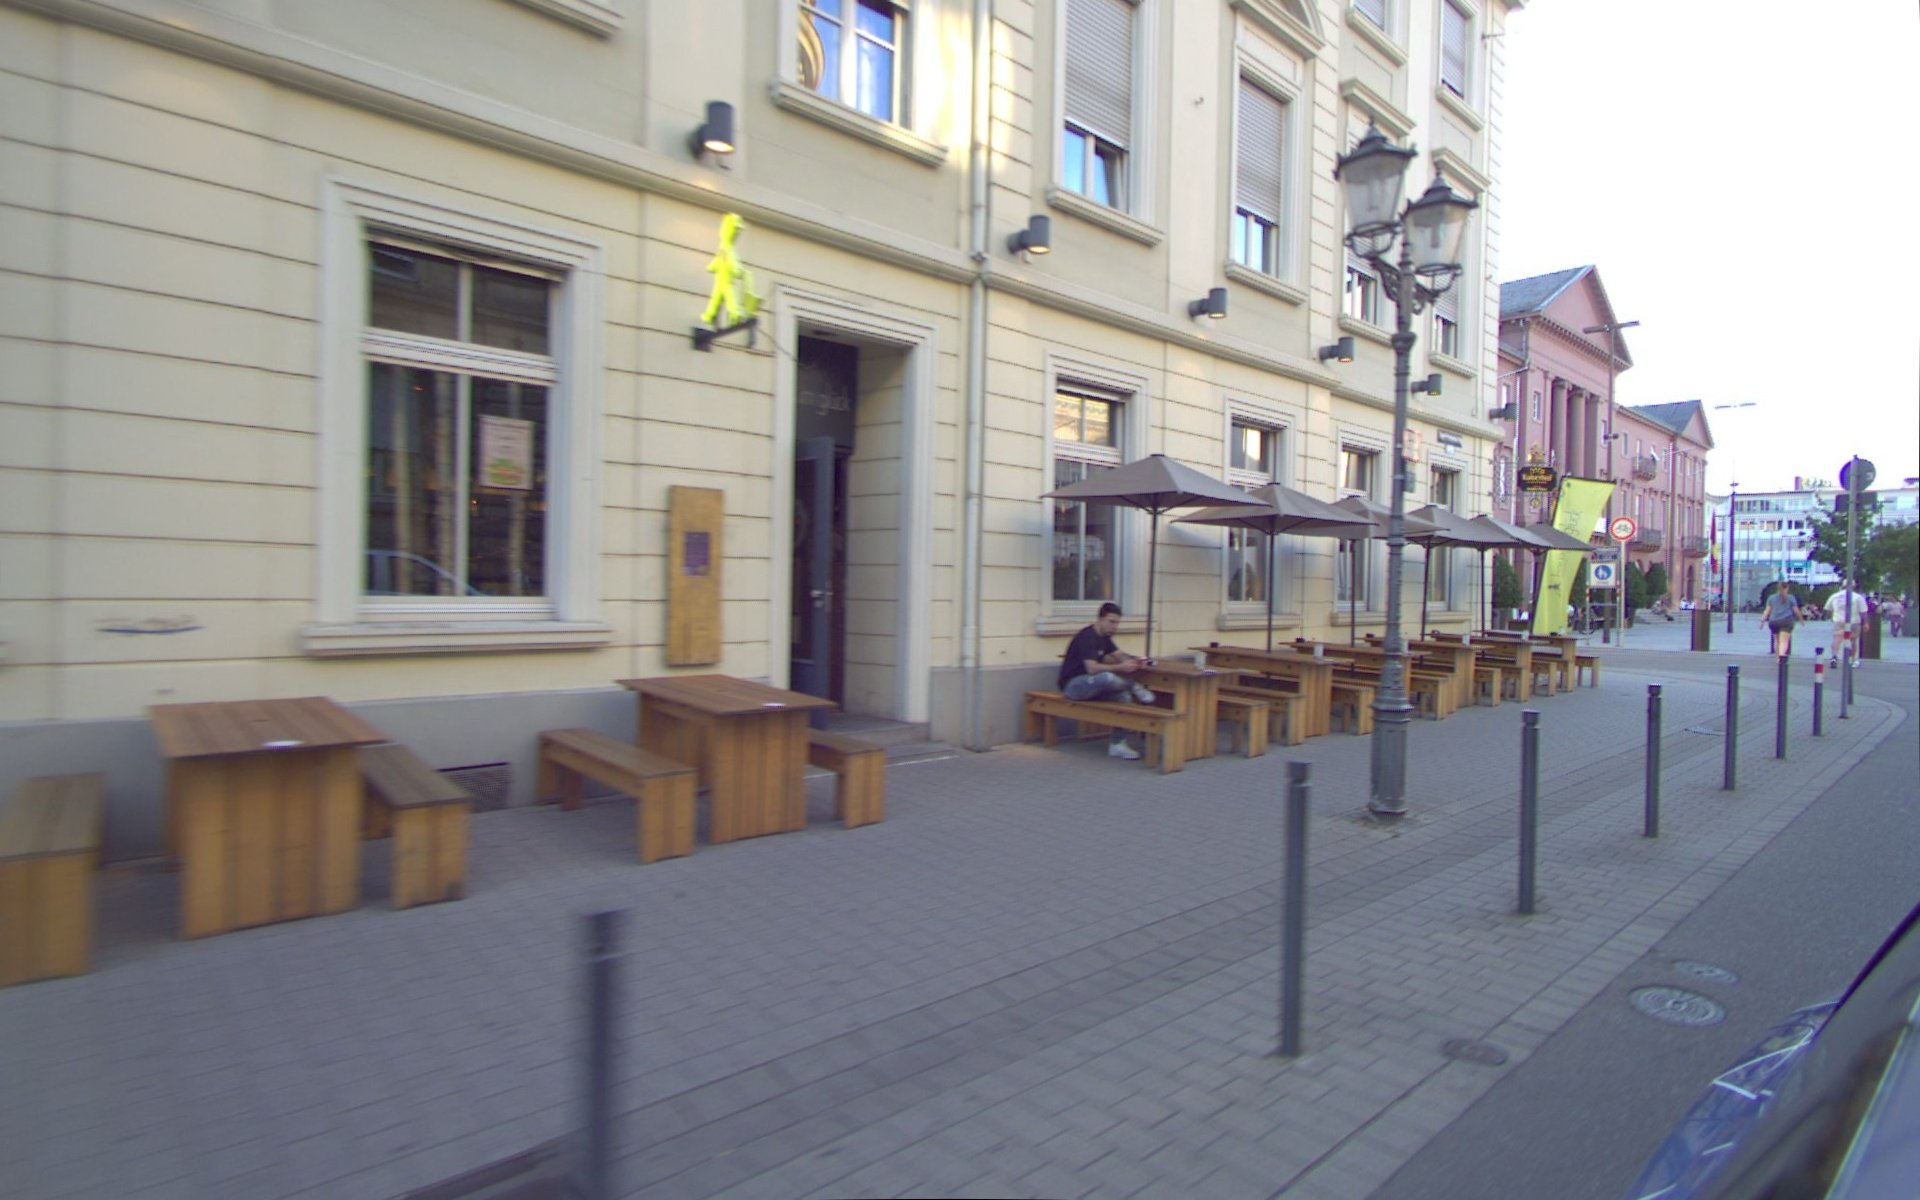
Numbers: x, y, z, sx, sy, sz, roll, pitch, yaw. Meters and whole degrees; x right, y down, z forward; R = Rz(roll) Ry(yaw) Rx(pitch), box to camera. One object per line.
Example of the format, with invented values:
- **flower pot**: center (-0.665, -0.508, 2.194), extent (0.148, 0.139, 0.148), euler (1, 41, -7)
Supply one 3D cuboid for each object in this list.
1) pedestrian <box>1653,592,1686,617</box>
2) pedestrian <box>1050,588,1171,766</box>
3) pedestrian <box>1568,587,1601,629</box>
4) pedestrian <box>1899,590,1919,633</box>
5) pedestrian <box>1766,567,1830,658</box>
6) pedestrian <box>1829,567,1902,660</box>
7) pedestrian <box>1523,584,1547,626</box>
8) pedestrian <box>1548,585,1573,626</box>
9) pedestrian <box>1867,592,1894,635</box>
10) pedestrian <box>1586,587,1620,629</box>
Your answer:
- **pedestrian**: center (38.079, 0.216, 54.317), extent (1.396, 1.278, 1.311), euler (2, 1, 35)
- **pedestrian**: center (1.261, 0.598, 8.451), extent (0.771, 1.376, 0.716), euler (1, 1, 31)
- **pedestrian**: center (22.365, 0.280, 36.273), extent (0.572, 1.466, 0.832), euler (1, 1, -9)
- **pedestrian**: center (35.496, 0.414, 37.706), extent (0.642, 1.578, 0.682), euler (0, 1, -44)
- **pedestrian**: center (16.596, 0.235, 20.056), extent (0.704, 1.751, 0.609), euler (1, 1, 1)
- **pedestrian**: center (17.454, 0.251, 19.523), extent (0.751, 1.751, 0.669), euler (1, 1, 1)
- **pedestrian**: center (20.598, 0.163, 36.286), extent (0.577, 1.466, 0.826), euler (1, 1, 19)
- **pedestrian**: center (21.512, 0.189, 36.248), extent (0.577, 1.466, 0.826), euler (1, 1, 19)
- **pedestrian**: center (34.802, 0.498, 38.267), extent (0.642, 1.586, 0.682), euler (0, 1, -44)
- **pedestrian**: center (23.169, 0.287, 36.477), extent (0.572, 1.466, 0.832), euler (1, 1, -11)
